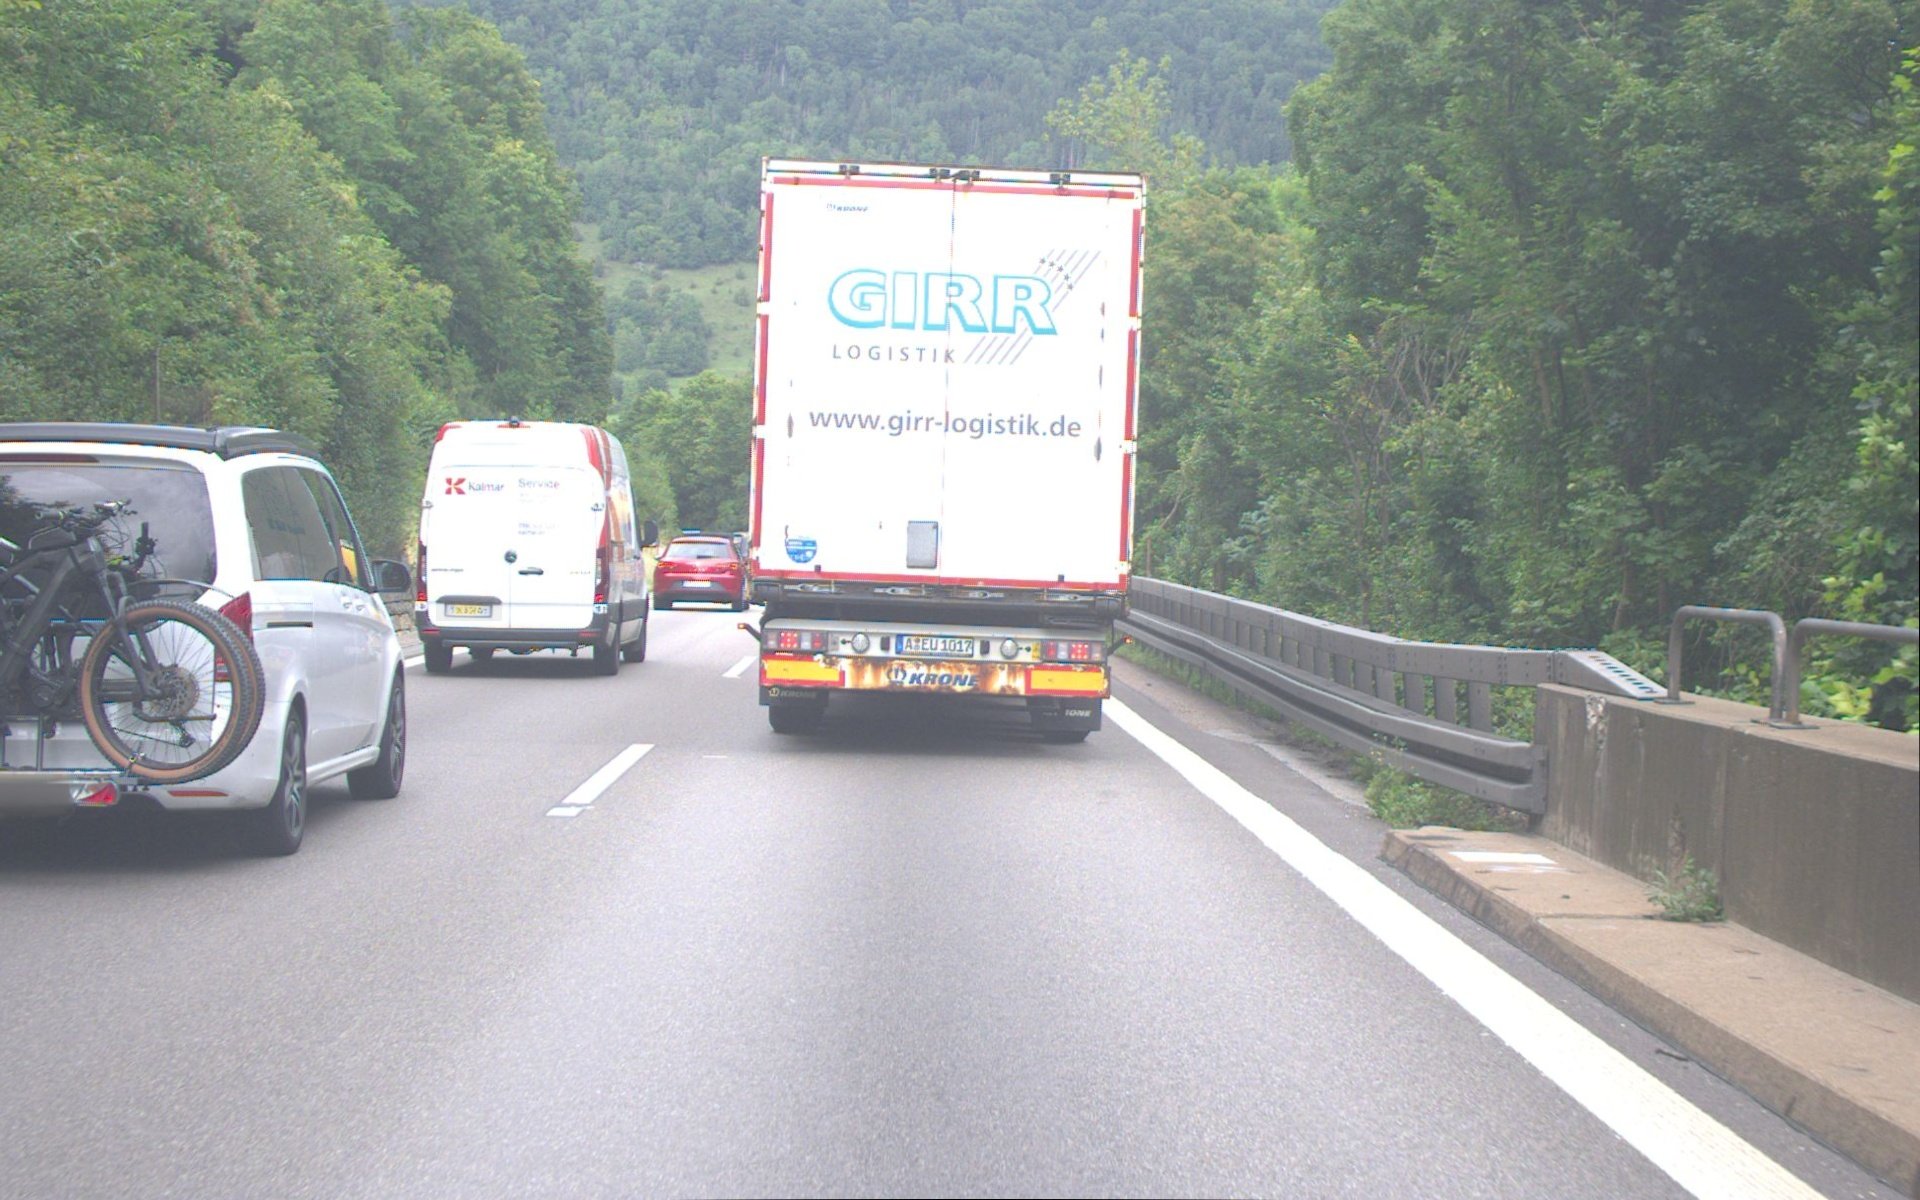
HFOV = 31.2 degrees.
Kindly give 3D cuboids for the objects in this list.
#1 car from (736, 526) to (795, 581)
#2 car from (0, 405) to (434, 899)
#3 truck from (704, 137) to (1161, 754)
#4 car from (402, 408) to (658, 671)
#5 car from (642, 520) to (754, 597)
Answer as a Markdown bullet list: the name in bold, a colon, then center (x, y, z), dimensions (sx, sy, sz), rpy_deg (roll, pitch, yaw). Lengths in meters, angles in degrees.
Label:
- **car**: center (-5.939, -1.417, 105.362), dimensions (1.669, 1.633, 4.068), rpy_deg (-1, 1, -1)
- **car**: center (-3.949, 0.129, 16.660), dimensions (1.993, 1.946, 6.148), rpy_deg (1, 1, -2)
- **truck**: center (-0.210, -1.078, 26.833), dimensions (2.908, 3.947, 9.279), rpy_deg (-1, 1, 0)
- **car**: center (-4.513, -0.638, 37.020), dimensions (2.026, 2.576, 6.275), rpy_deg (-1, 1, -1)
- **car**: center (-5.084, -0.815, 67.241), dimensions (1.766, 1.455, 4.411), rpy_deg (-1, 1, 1)
